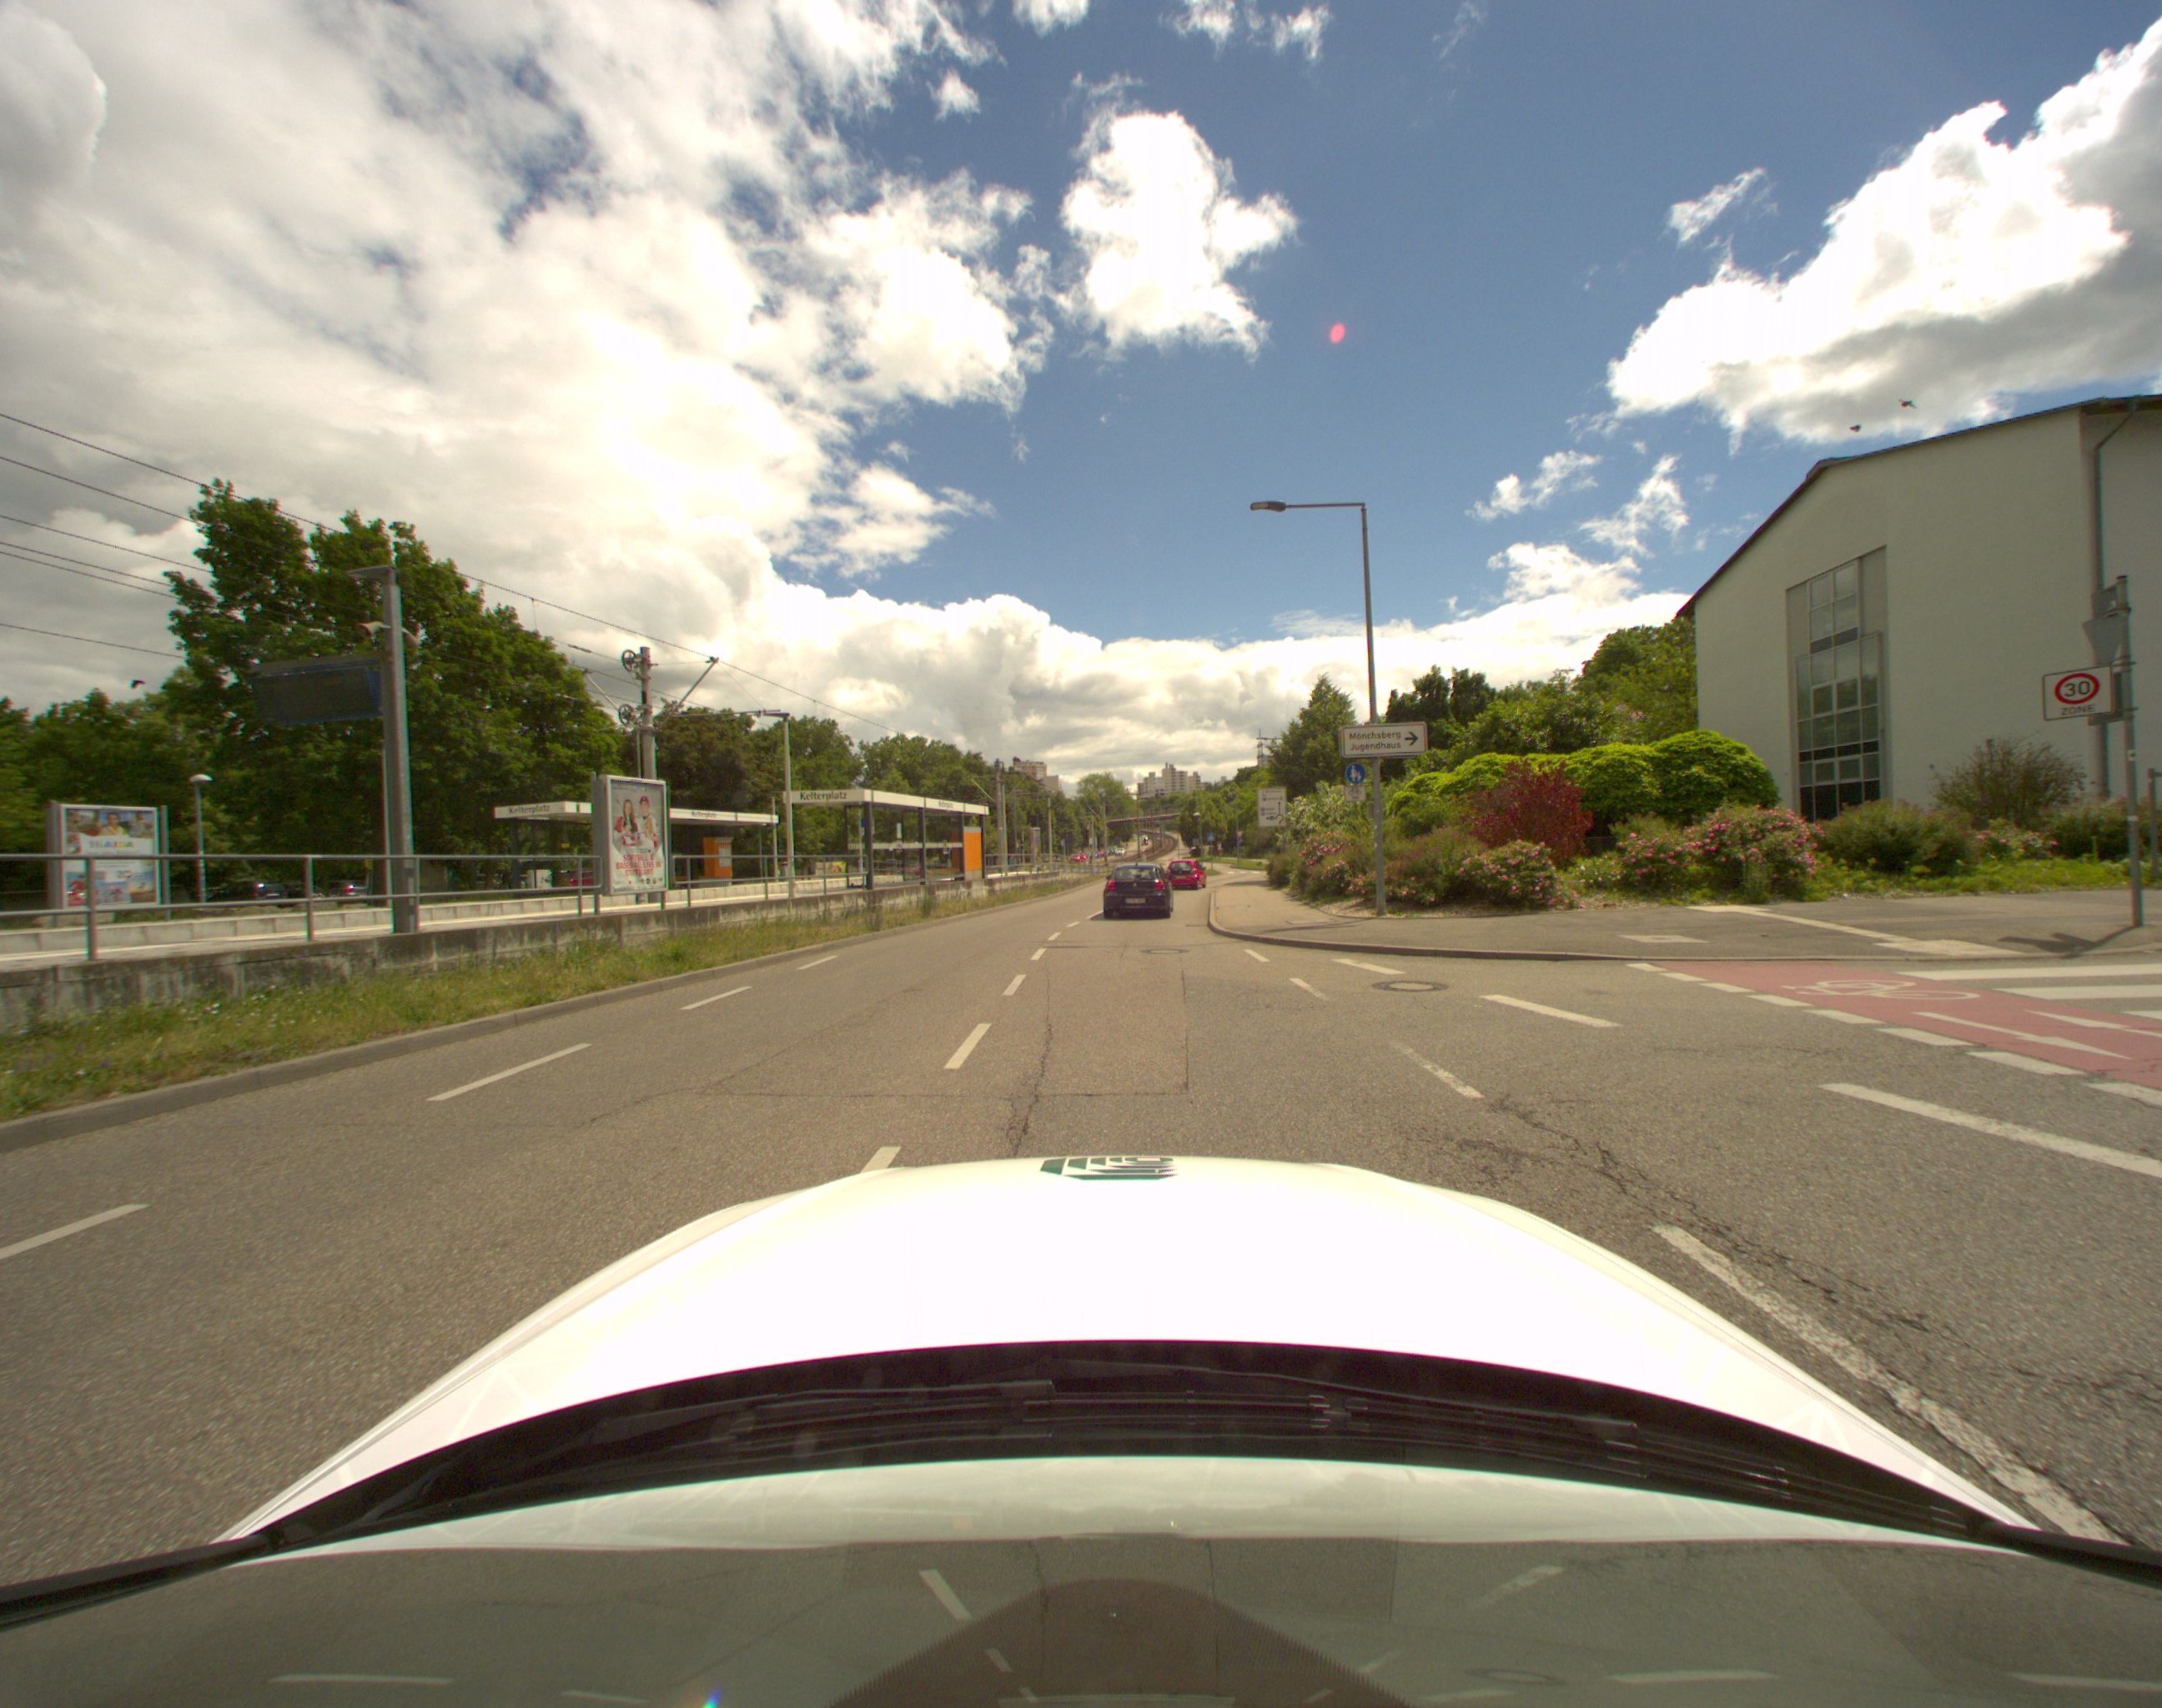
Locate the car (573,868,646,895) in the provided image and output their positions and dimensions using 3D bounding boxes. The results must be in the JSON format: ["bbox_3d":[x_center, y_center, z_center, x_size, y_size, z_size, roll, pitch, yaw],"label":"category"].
[{"bbox_3d":[-32.934,1.927,56.967,3.963,1.684,1.980,-2,1,9],"label":"car"}]

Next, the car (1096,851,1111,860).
[{"bbox_3d":[4.155,0.320,149.237,1.899,1.561,4.014,-2,0,12],"label":"car"}]

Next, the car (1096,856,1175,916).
[{"bbox_3d":[1.567,0.821,22.012,1.805,1.421,4.008,-3,-1,8],"label":"car"}]

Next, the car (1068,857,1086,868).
[{"bbox_3d":[-0.558,1.205,115.258,1.705,1.503,2.981,-2,0,19],"label":"car"}]

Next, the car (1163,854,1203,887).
[{"bbox_3d":[4.951,0.791,39.720,1.756,1.432,3.485,-3,-1,6],"label":"car"}]

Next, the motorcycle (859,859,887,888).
[{"bbox_3d":[-15.247,1.440,59.698,0.826,2.013,1.994,-2,0,23],"label":"motorcycle"}]

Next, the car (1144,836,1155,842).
[{"bbox_3d":[18.437,-3.957,218.563,1.979,1.597,4.437,-2,0,15],"label":"car"}]

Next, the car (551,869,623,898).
[{"bbox_3d":[-33.123,1.963,54.662,3.614,1.705,2.058,-2,1,9],"label":"car"}]

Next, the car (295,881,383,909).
[{"bbox_3d":[-46.126,2.515,50.667,3.801,1.491,1.972,-2,1,6],"label":"car"}]

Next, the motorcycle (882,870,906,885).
[{"bbox_3d":[-14.445,1.781,62.936,0.723,1.081,2.225,-2,0,17],"label":"motorcycle"}]
